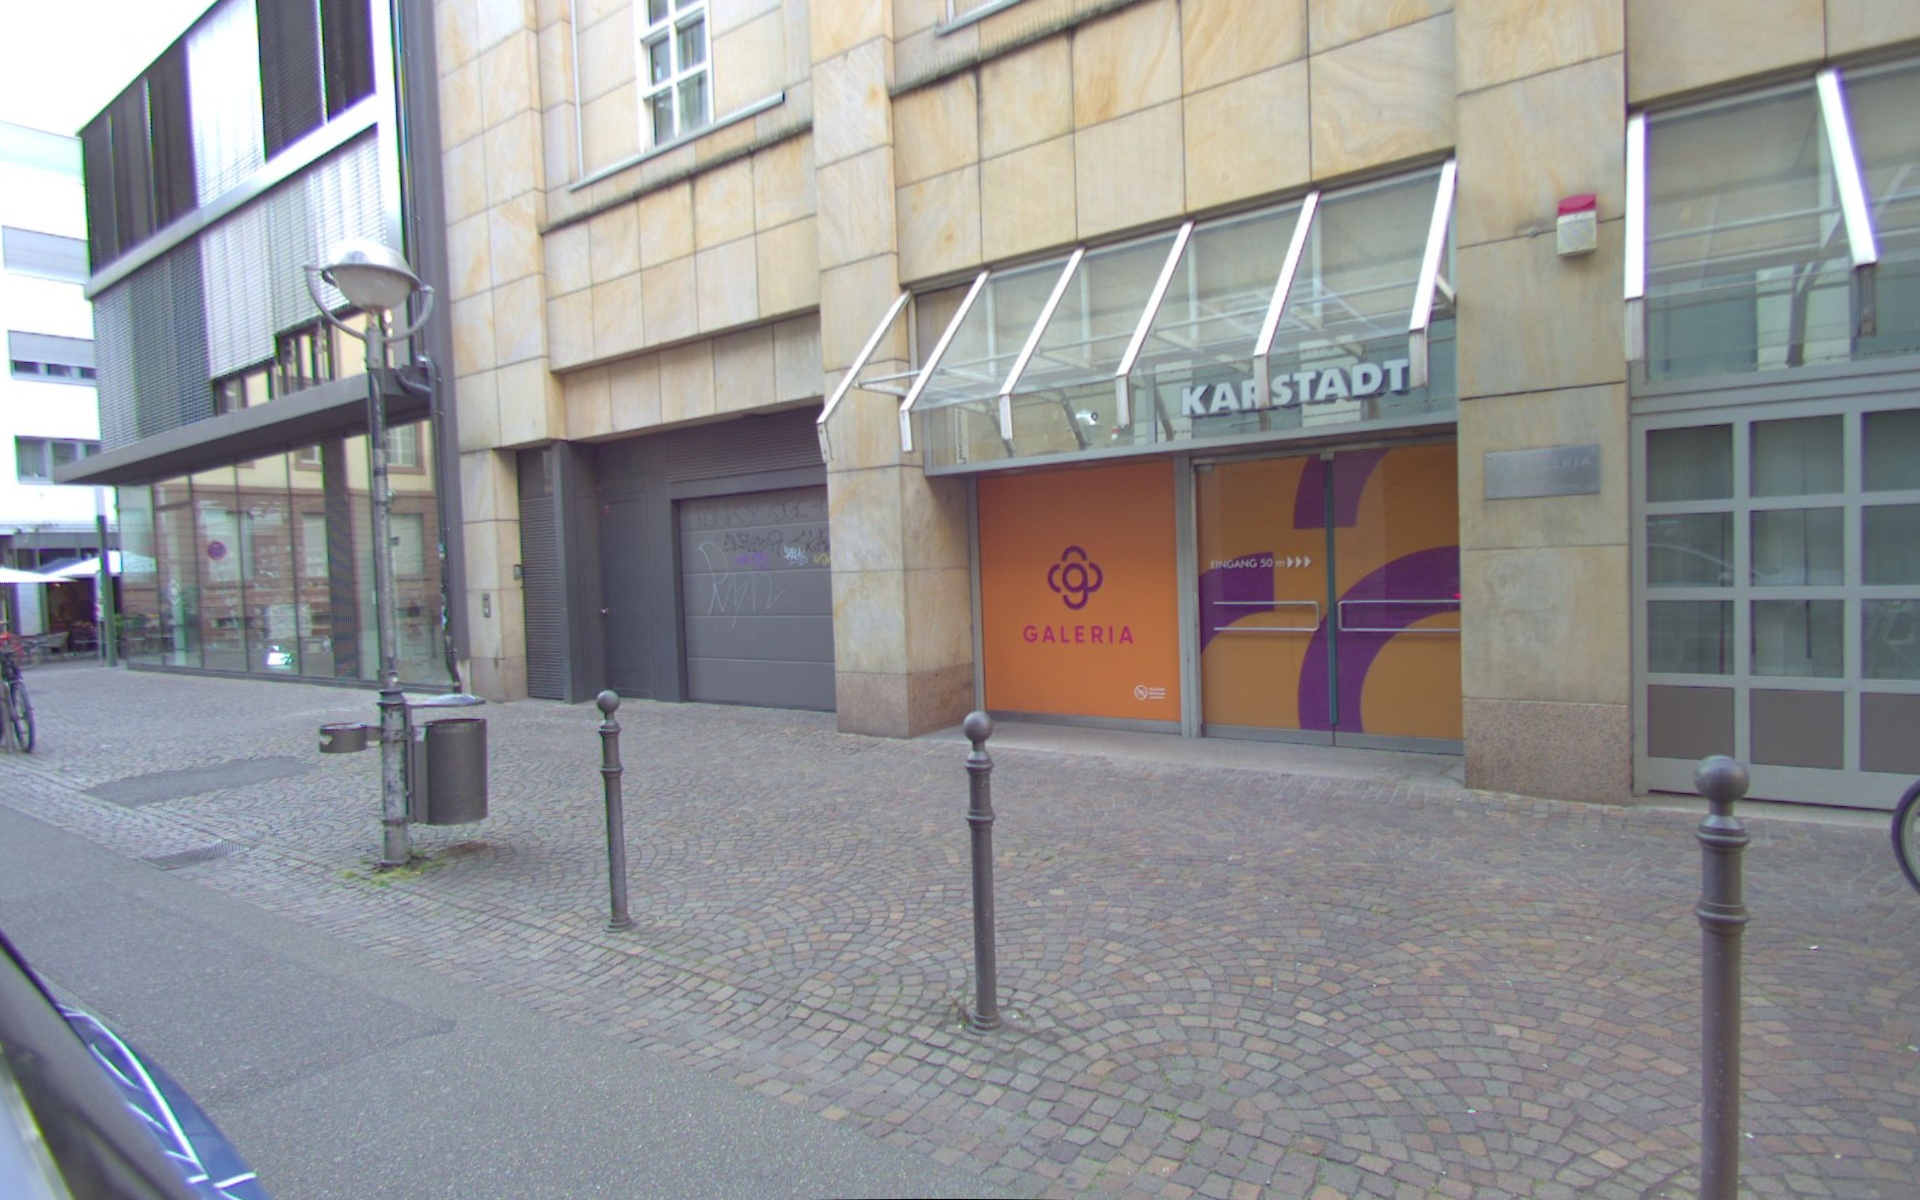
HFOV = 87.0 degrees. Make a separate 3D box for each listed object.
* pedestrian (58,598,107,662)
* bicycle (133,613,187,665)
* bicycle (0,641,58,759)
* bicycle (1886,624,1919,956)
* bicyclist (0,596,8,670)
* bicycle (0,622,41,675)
[{"bbox_3d":[-23.850,0.812,27.504,0.789,1.661,0.718,-2,2,30],"label":"pedestrian"},{"bbox_3d":[-18.864,0.927,23.852,1.699,1.144,0.461,-4,0,35],"label":"bicycle"},{"bbox_3d":[-10.191,1.019,10.691,1.924,1.141,0.407,-1,2,32],"label":"bicycle"},{"bbox_3d":[4.113,0.660,3.118,0.685,1.120,1.779,-3,1,-40],"label":"bicycle"},{"bbox_3d":[-22.699,0.792,23.333,0.629,1.716,0.890,-1,3,36],"label":"bicyclist"},{"bbox_3d":[-22.659,1.176,23.408,0.577,1.157,1.958,-1,3,36],"label":"bicycle"}]
